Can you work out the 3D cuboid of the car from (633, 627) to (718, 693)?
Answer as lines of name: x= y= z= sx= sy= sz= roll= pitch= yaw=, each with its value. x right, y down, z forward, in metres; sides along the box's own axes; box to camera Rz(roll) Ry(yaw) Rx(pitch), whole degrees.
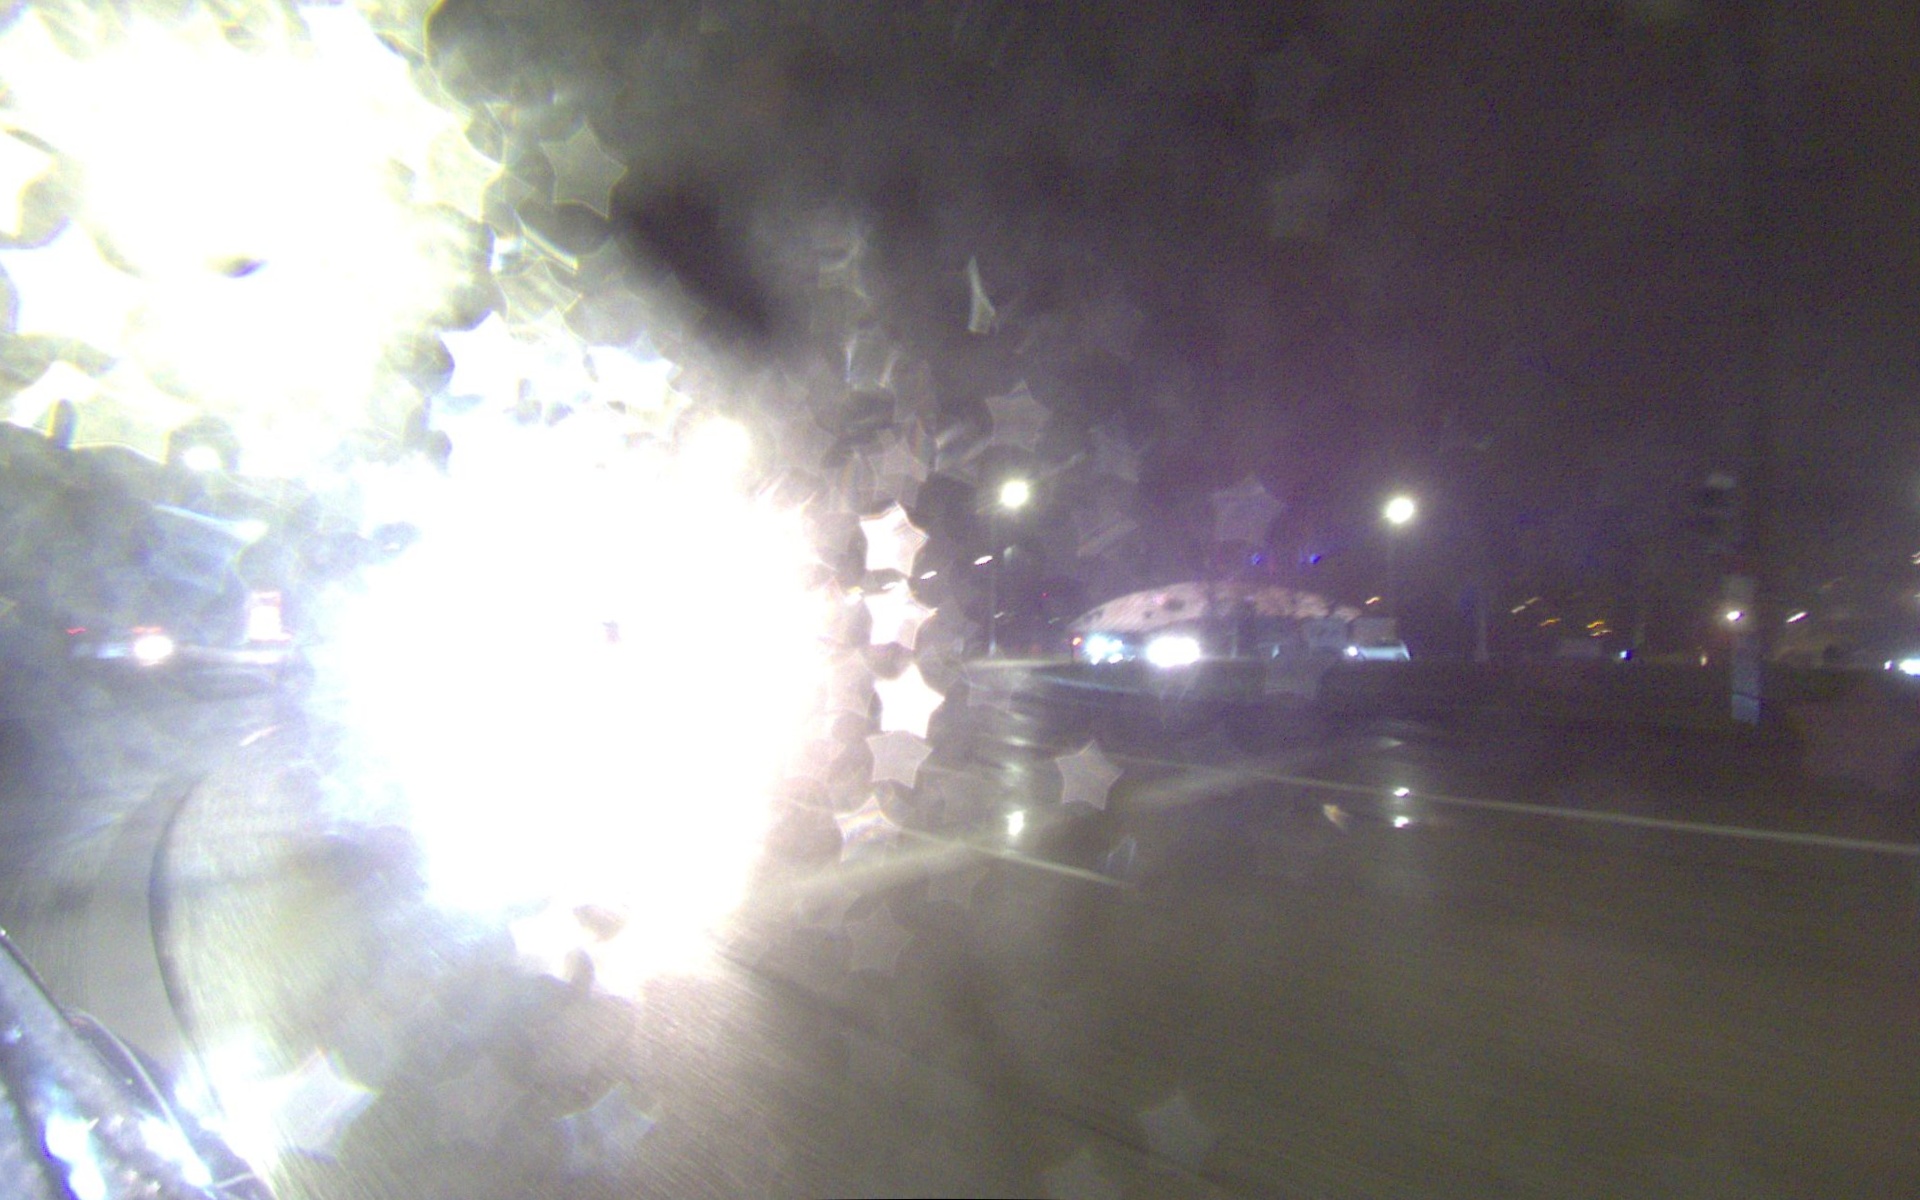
car: x=-7.680 y=1.523 z=27.001 sx=1.803 sy=1.538 sz=4.890 roll=0 pitch=-1 yaw=-20

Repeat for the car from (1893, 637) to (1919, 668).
car: x=47.760 y=2.536 z=48.593 sx=4.003 sy=1.455 sz=1.814 roll=-1 pitch=-1 yaw=31

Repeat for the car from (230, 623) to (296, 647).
car: x=-51.958 y=2.594 z=75.424 sx=5.110 sy=1.745 sz=2.042 roll=-1 pitch=-1 yaw=30

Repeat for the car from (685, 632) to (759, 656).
car: x=-14.136 y=2.618 z=60.150 sx=3.905 sy=1.383 sz=1.824 roll=-1 pitch=-1 yaw=11

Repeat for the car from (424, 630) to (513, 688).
car: x=-16.392 y=1.886 z=33.652 sx=1.920 sy=1.732 sz=4.452 roll=1 pitch=-1 yaw=-36

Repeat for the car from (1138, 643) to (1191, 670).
car: x=13.331 y=3.688 z=66.167 sx=1.730 sy=1.586 sz=4.012 roll=0 pitch=-1 yaw=-17

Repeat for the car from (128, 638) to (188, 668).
car: x=-42.754 y=2.793 z=53.937 sx=3.747 sy=1.514 sz=1.648 roll=-1 pitch=-1 yaw=38

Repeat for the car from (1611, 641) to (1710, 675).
car: x=36.033 y=2.962 z=52.185 sx=3.848 sy=1.630 sz=1.759 roll=-1 pitch=-1 yaw=23

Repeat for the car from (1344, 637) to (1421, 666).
car: x=24.905 y=3.013 z=59.763 sx=3.831 sy=1.630 sz=1.767 roll=-1 pitch=-1 yaw=11

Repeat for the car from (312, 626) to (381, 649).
car: x=-47.843 y=2.900 z=78.962 sx=5.006 sy=1.729 sz=2.055 roll=-1 pitch=-1 yaw=22

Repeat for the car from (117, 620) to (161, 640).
car: x=-72.605 y=2.667 z=89.483 sx=5.036 sy=1.729 sz=2.043 roll=-1 pitch=-2 yaw=40

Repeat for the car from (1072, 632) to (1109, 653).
car: x=10.476 y=3.401 z=81.316 sx=1.651 sy=1.541 sz=4.010 roll=0 pitch=-1 yaw=-13

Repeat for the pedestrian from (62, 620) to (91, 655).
pedestrian: x=-38.501 y=1.644 z=44.095 sx=0.832 sy=1.496 sz=0.721 roll=-1 pitch=-1 yaw=29

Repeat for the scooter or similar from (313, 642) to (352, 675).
scooter or similar: x=-21.167 y=1.977 z=34.156 sx=1.086 sy=1.106 sz=0.319 roll=3 pitch=-3 yaw=-32

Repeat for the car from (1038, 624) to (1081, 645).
car: x=9.968 y=3.408 z=101.833 sx=1.966 sy=2.029 sz=4.435 roll=0 pitch=-1 yaw=-33

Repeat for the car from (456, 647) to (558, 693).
car: x=-18.787 y=2.860 z=41.945 sx=4.177 sy=1.719 sz=1.816 roll=-1 pitch=-1 yaw=30
